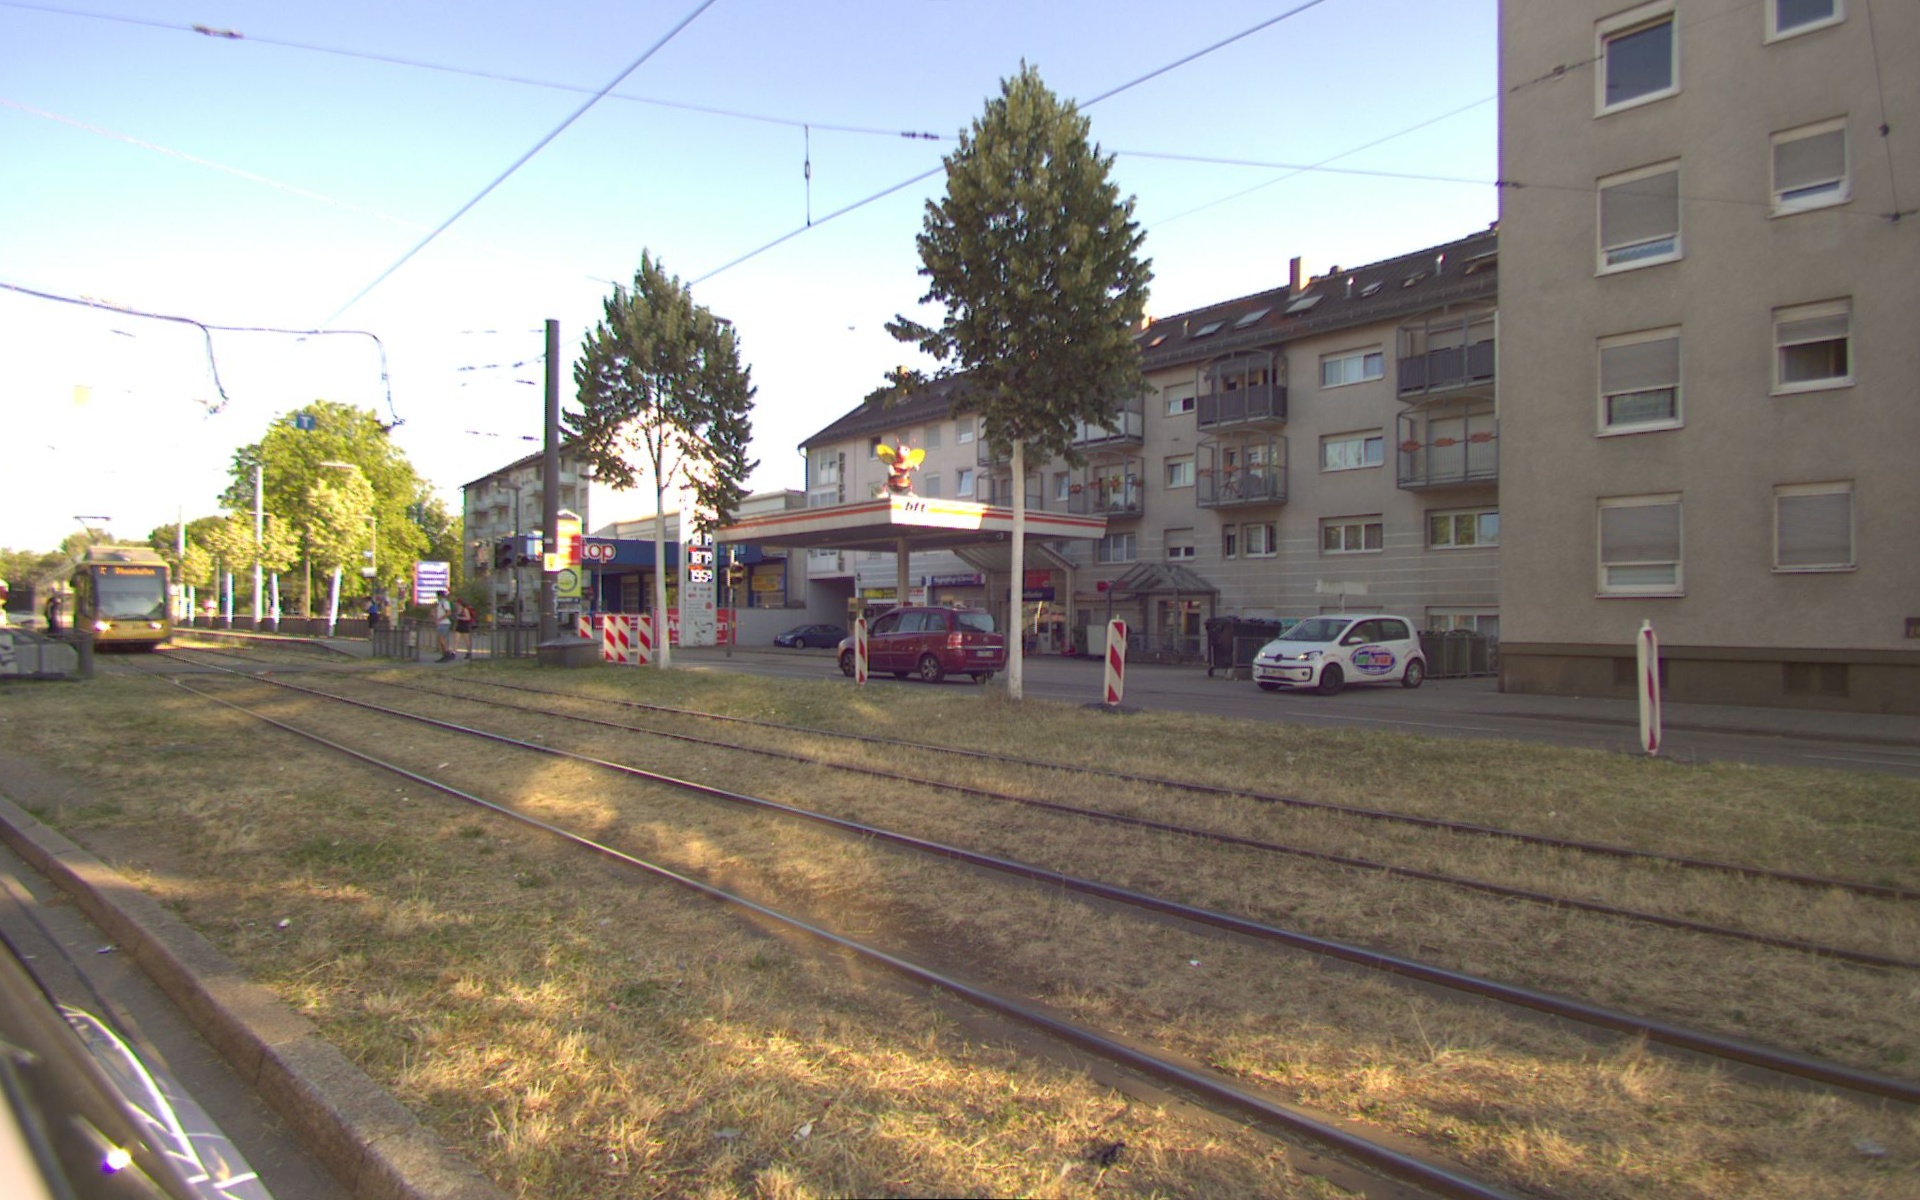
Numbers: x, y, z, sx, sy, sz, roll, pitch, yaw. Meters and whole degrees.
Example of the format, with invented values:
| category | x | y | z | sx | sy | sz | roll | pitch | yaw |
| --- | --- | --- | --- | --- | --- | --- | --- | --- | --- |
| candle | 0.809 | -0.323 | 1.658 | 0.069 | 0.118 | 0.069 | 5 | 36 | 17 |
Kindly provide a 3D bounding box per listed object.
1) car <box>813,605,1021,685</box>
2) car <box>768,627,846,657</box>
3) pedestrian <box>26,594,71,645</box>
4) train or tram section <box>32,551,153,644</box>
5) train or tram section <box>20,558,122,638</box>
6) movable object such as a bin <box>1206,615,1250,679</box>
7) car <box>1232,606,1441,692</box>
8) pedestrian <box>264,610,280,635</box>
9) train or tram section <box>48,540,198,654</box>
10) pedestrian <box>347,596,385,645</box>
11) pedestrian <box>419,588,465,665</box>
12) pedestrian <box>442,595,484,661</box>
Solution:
| category | x | y | z | sx | sy | sz | roll | pitch | yaw |
| --- | --- | --- | --- | --- | --- | --- | --- | --- | --- |
| car | -1.076 | 0.924 | 22.457 | 1.790 | 1.572 | 4.938 | 2 | -2 | -44 |
| car | -8.130 | 2.219 | 54.067 | 3.748 | 1.535 | 1.820 | 1 | -2 | -41 |
| pedestrian | -28.708 | 0.596 | 31.876 | 0.788 | 1.562 | 0.907 | -1 | 0 | 37 |
| train or tram section | -37.036 | -0.047 | 43.026 | 10.102 | 3.544 | 3.001 | 0 | -2 | 45 |
| train or tram section | -44.200 | -0.048 | 50.178 | 10.102 | 3.544 | 3.001 | 0 | -2 | 45 |
| movable object such as a bin | 6.062 | 1.057 | 22.923 | 0.749 | 1.411 | 0.656 | -1 | -2 | 44 |
| car | 7.290 | 0.930 | 19.546 | 3.763 | 1.523 | 1.823 | 2 | -2 | -31 |
| pedestrian | -52.805 | 1.713 | 77.656 | 1.001 | 1.896 | 0.744 | -1 | 1 | 45 |
| train or tram section | -29.874 | -0.041 | 35.892 | 10.102 | 3.544 | 3.001 | 0 | -2 | 45 |
| pedestrian | -20.959 | 0.713 | 35.704 | 0.924 | 1.666 | 0.926 | -2 | 1 | -44 |
| pedestrian | -13.489 | 0.690 | 26.361 | 0.755 | 1.947 | 0.848 | -1 | -2 | 43 |
| pedestrian | -13.533 | 0.768 | 27.581 | 0.860 | 1.760 | 0.745 | -1 | -2 | 43 |
